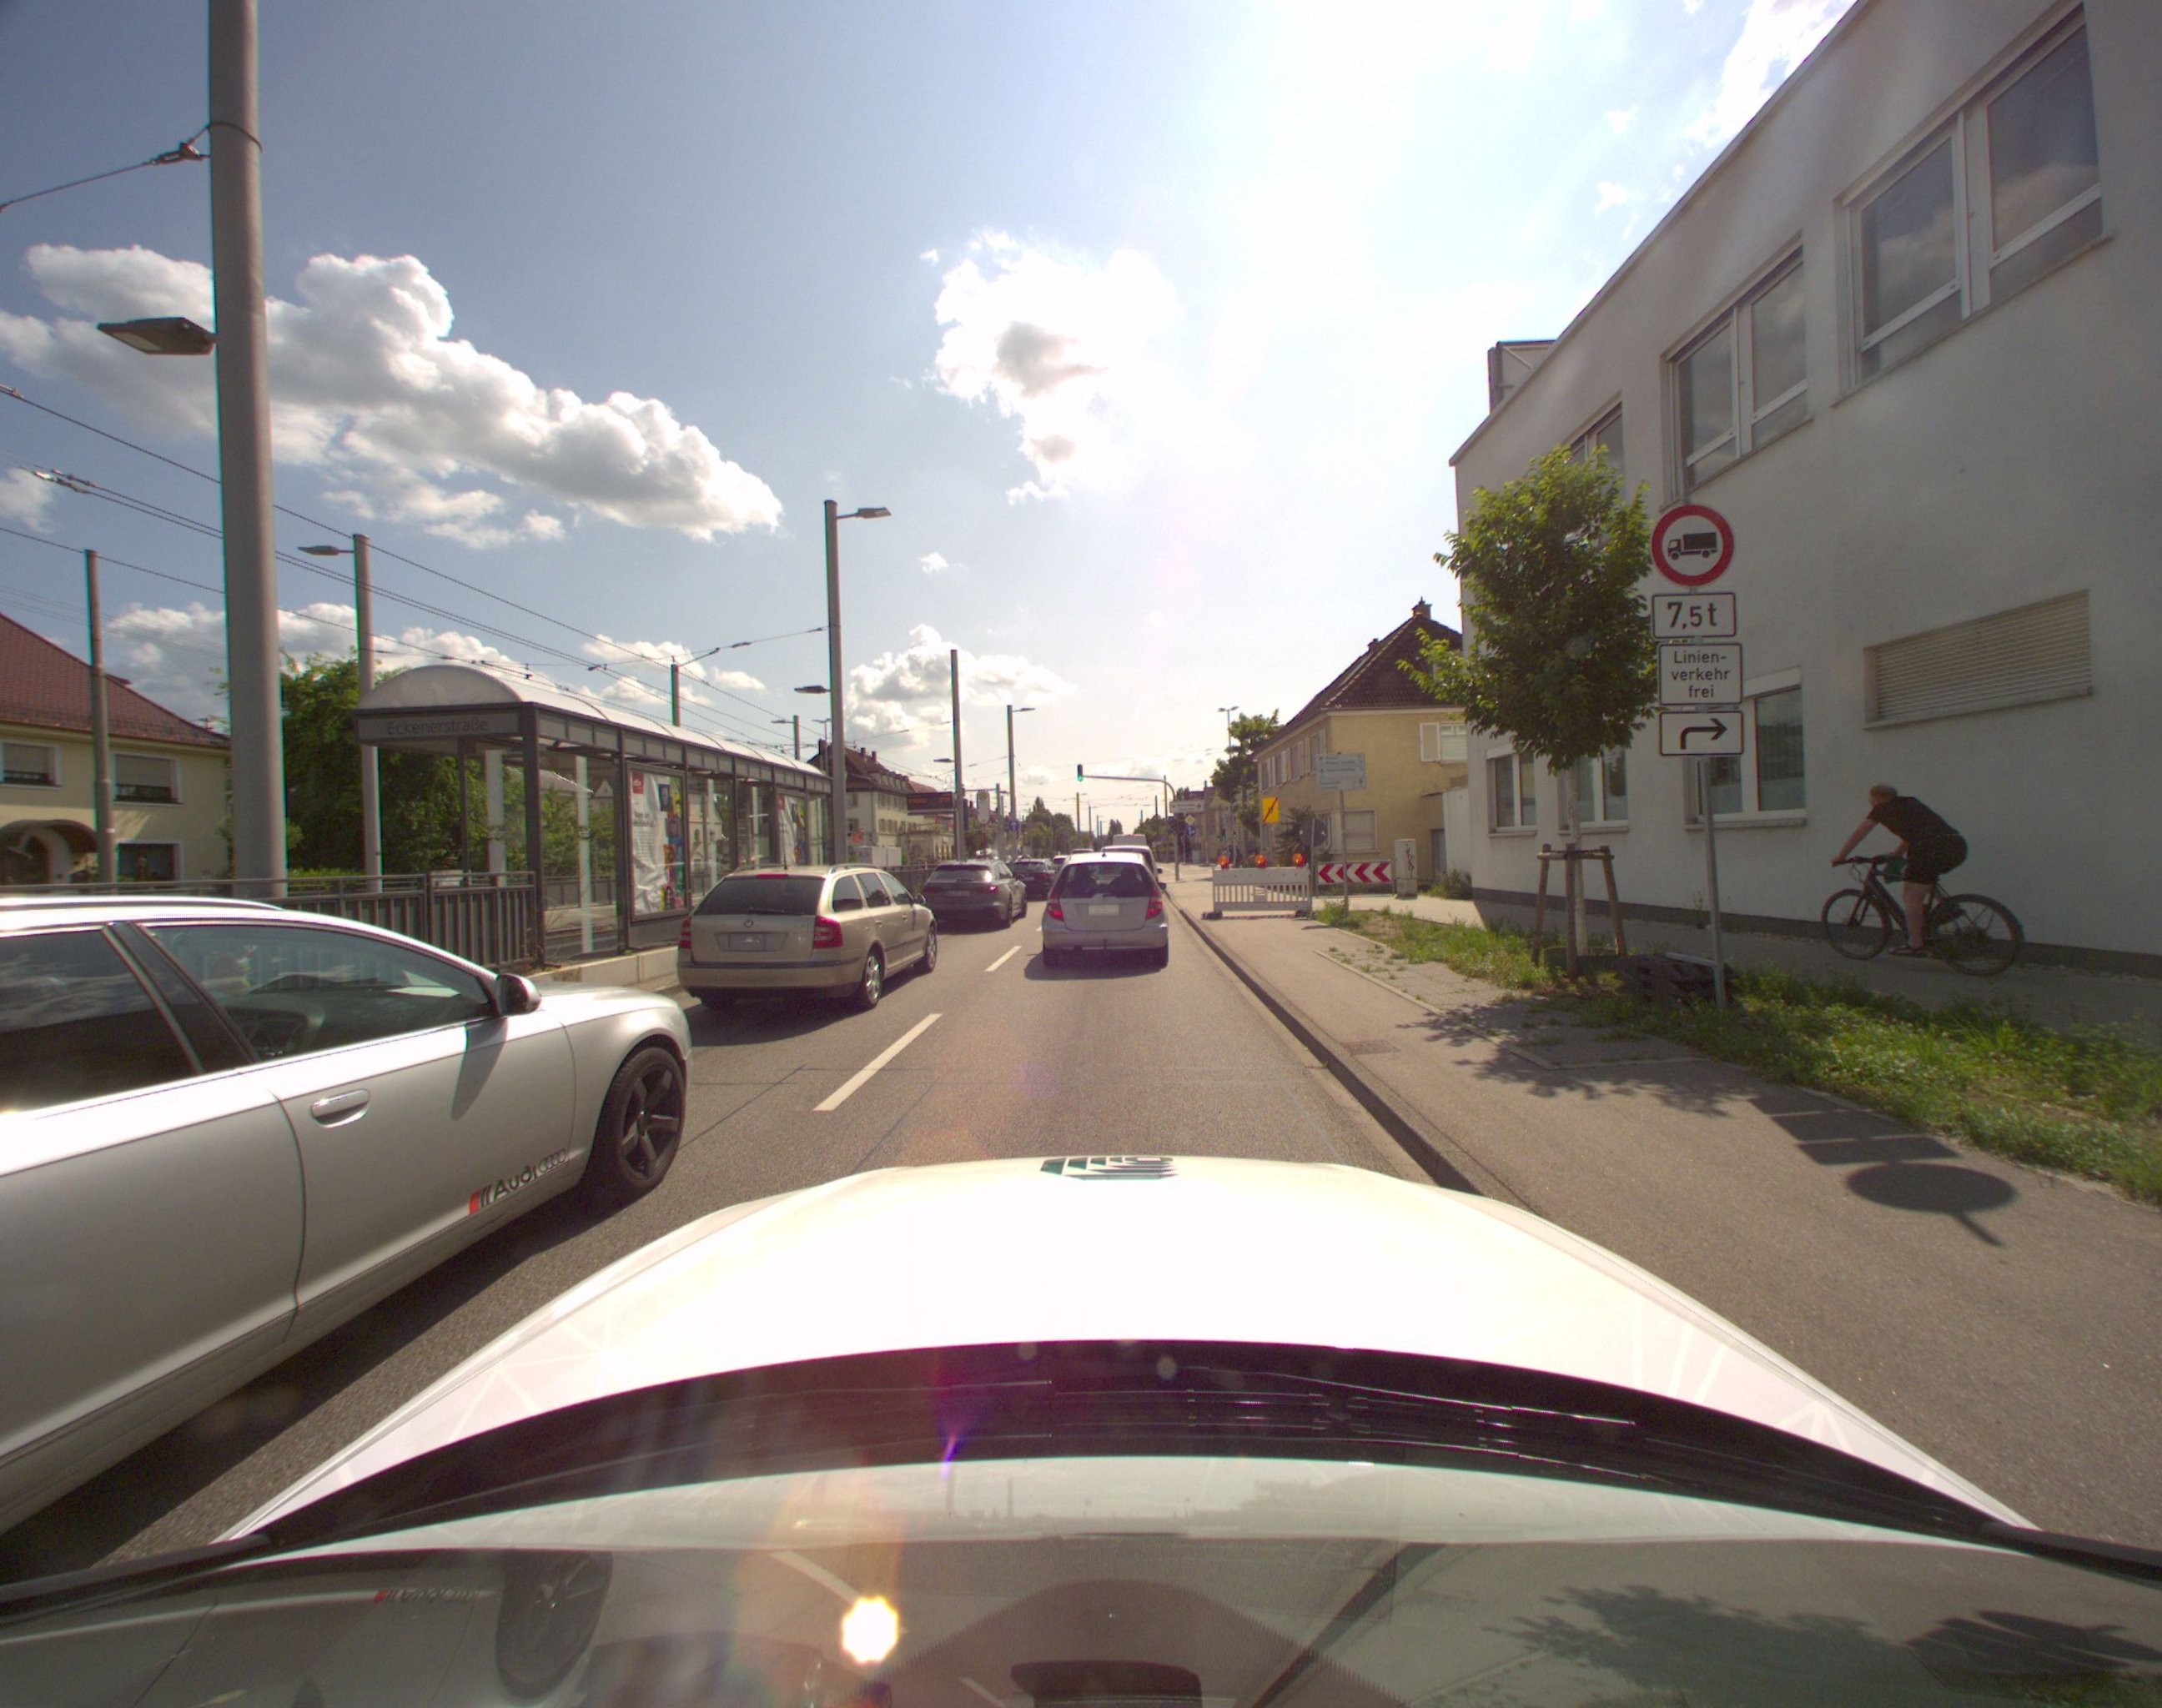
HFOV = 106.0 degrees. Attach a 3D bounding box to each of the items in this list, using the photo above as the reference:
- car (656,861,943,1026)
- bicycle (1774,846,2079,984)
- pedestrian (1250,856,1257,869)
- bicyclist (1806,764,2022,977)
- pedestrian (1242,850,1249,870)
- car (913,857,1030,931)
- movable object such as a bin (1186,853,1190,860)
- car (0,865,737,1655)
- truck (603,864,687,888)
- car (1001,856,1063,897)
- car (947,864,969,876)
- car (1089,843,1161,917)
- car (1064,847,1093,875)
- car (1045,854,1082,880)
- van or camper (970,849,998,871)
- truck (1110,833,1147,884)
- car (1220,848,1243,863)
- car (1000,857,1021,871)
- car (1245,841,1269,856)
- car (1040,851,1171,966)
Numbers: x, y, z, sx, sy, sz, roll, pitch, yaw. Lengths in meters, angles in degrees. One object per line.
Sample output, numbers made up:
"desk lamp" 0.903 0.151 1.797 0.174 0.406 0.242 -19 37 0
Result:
"car" -2.847 0.812 9.277 1.724 1.449 4.124 0 -1 2
"bicycle" 7.678 0.488 7.575 0.825 1.075 1.973 -3 0 4
"pedestrian" 14.266 0.707 67.362 0.485 1.136 0.389 0 -1 4
"bicyclist" 7.660 0.136 7.558 0.825 1.793 1.085 -3 0 3
"pedestrian" 13.596 0.469 67.304 0.543 1.643 0.402 -1 -1 8
"car" -2.359 0.820 18.762 1.909 1.477 4.564 0 0 2
"movable object such as a bin" 13.904 0.346 106.241 0.466 0.946 0.558 -2 -1 3
"car" -2.908 0.783 2.240 1.788 1.472 4.723 0 -1 2
"truck" -35.862 1.773 67.092 6.154 1.922 1.692 0 -1 5
"car" -1.701 0.792 29.865 1.845 1.388 4.516 0 -1 2
"car" -14.991 1.956 99.384 1.677 1.351 4.349 0 -1 3
"car" 1.115 0.646 21.719 1.724 1.762 4.017 0 -1 1
"car" -0.147 0.460 55.368 1.845 1.843 3.920 0 -1 2
"car" -0.926 0.697 45.009 1.845 1.388 3.920 0 -1 2
"van or camper" -13.645 0.793 114.986 2.314 2.930 7.762 -3 0 4
"truck" 2.527 0.249 44.251 1.845 2.552 5.857 0 -1 2
"car" 16.530 0.131 89.428 1.985 1.596 4.135 0 -1 4
"car" -9.609 1.354 111.689 1.984 1.776 4.885 -4 0 5
"car" 19.347 -0.595 89.480 1.985 1.596 4.135 0 -1 4
"car" 0.373 0.744 12.811 1.724 1.517 4.017 0 -1 1
